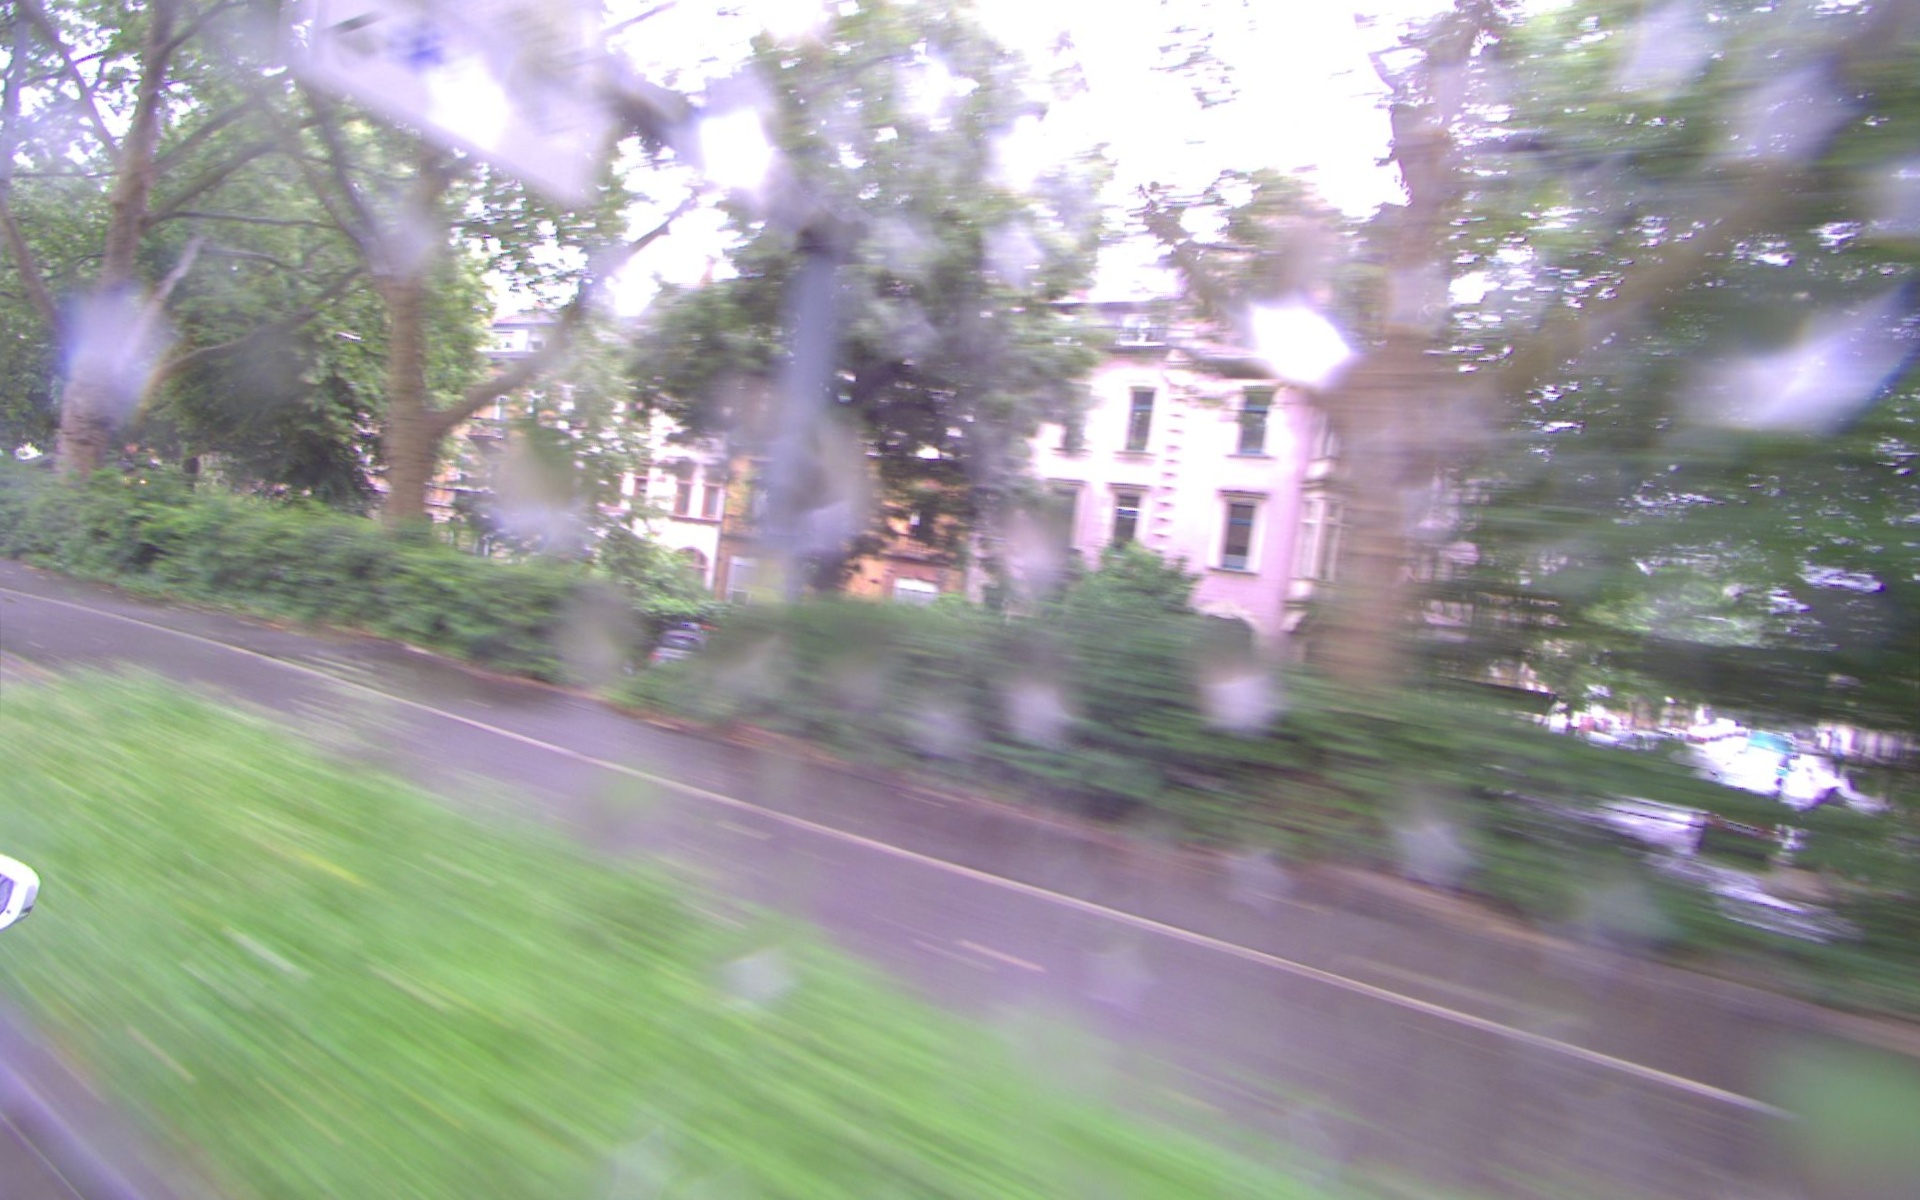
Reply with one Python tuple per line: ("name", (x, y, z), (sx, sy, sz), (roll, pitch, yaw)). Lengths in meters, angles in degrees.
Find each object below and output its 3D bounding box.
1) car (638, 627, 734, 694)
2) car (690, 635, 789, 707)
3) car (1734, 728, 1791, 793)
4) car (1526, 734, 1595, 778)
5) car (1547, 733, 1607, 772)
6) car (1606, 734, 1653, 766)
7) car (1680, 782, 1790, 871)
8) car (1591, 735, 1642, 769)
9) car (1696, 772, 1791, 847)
("car", (-7.688, 1.664, 28.556), (1.591, 1.434, 3.630), (7, 1, 0))
("car", (-5.829, 1.837, 27.017), (1.693, 1.434, 3.755), (7, 1, 0))
("car", (38.902, 7.718, 48.806), (1.898, 2.738, 3.895), (6, -2, 39))
("car", (25.483, 6.570, 42.638), (1.898, 1.487, 3.895), (6, -2, 39))
("car", (29.992, 7.377, 48.854), (1.898, 1.487, 3.895), (6, -2, 39))
("car", (39.580, 8.820, 59.452), (1.898, 1.487, 3.895), (6, -2, 39))
("car", (19.083, 5.493, 24.790), (1.898, 1.487, 3.895), (6, -2, 39))
("car", (36.103, 8.297, 55.266), (1.898, 1.487, 3.895), (6, -2, 39))
("car", (22.090, 5.826, 28.387), (1.898, 1.487, 3.895), (6, -2, 39))
